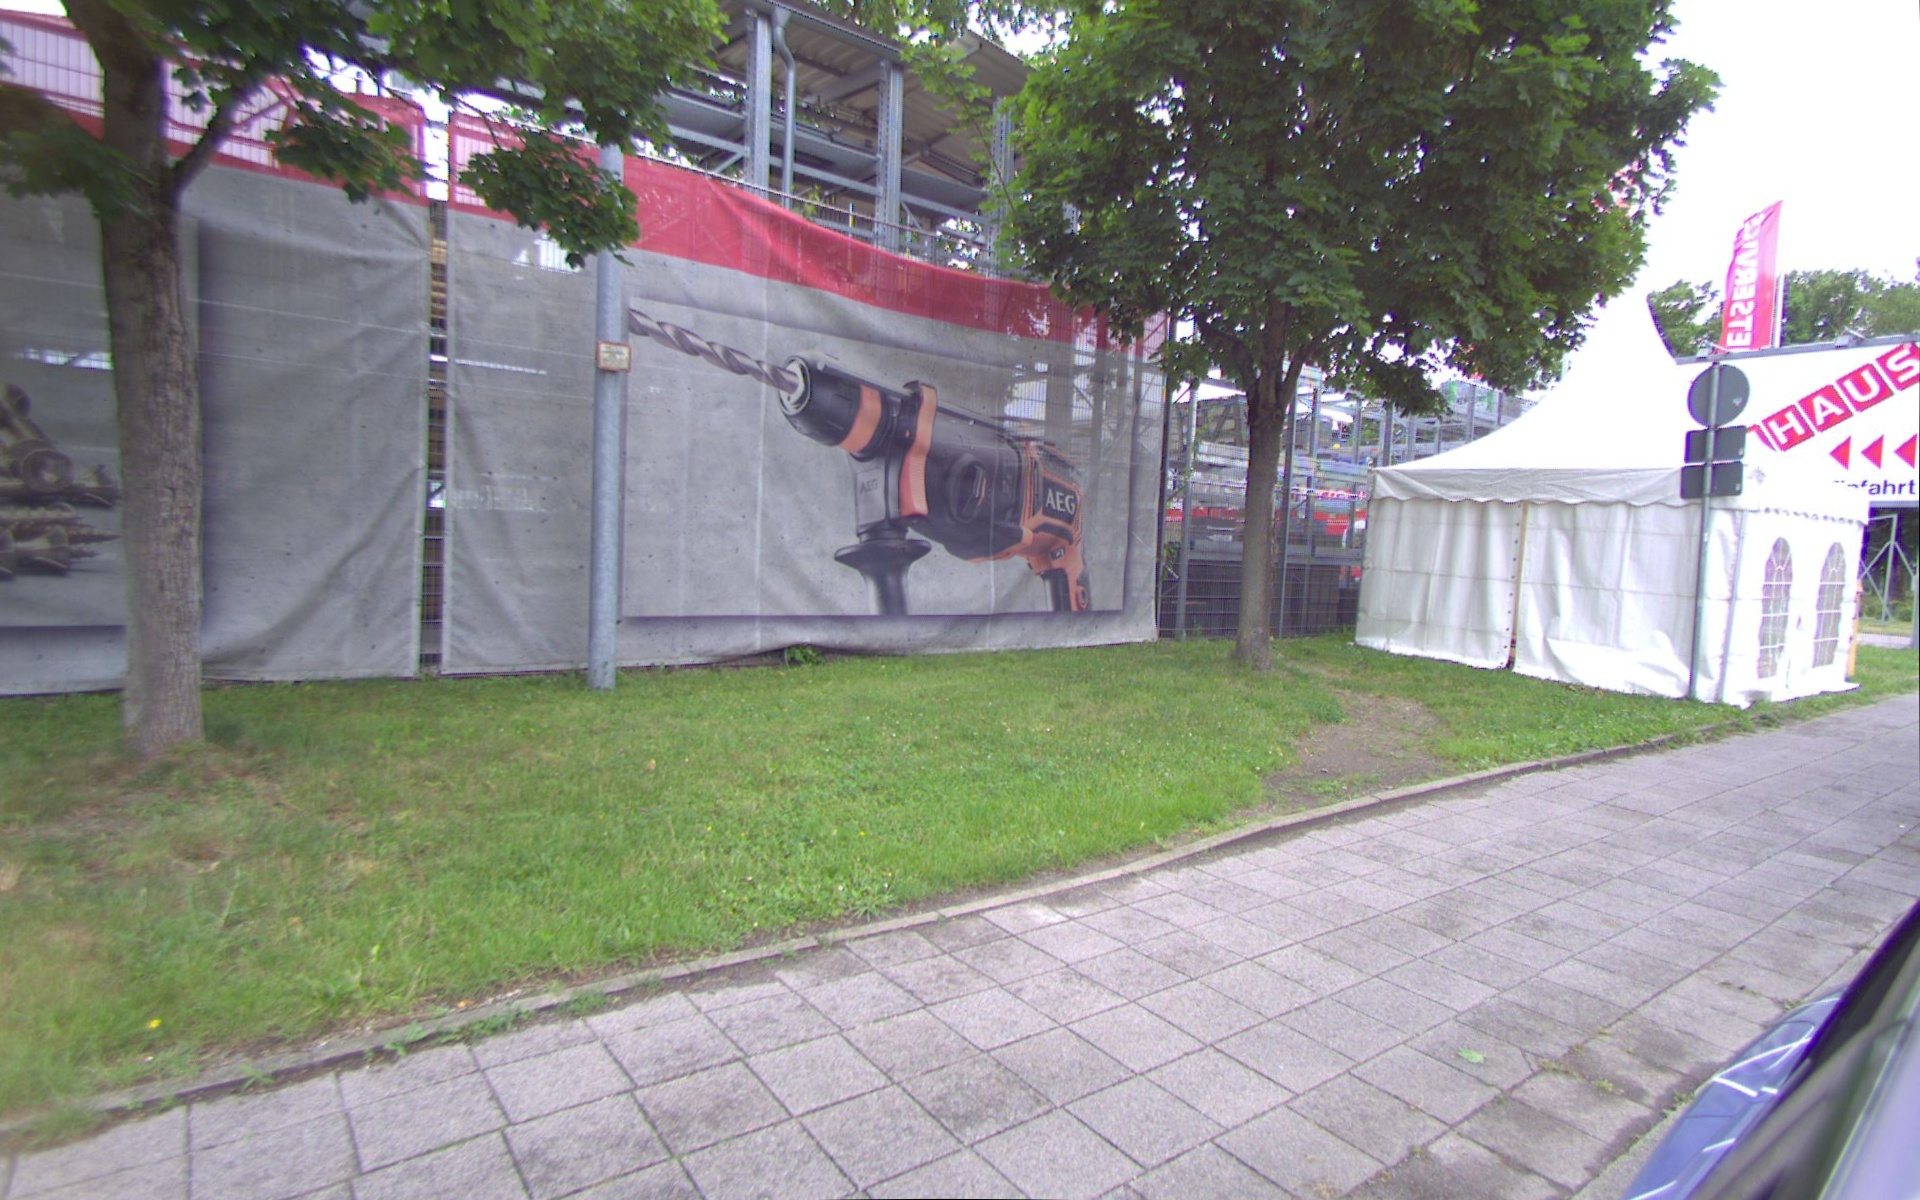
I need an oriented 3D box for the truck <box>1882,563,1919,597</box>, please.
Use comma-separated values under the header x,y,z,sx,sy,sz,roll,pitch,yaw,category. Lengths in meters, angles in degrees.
x,y,z,sx,sy,sz,roll,pitch,yaw,category
71.646,-1.428,75.308,3.927,2.425,2.000,2,3,3,truck
